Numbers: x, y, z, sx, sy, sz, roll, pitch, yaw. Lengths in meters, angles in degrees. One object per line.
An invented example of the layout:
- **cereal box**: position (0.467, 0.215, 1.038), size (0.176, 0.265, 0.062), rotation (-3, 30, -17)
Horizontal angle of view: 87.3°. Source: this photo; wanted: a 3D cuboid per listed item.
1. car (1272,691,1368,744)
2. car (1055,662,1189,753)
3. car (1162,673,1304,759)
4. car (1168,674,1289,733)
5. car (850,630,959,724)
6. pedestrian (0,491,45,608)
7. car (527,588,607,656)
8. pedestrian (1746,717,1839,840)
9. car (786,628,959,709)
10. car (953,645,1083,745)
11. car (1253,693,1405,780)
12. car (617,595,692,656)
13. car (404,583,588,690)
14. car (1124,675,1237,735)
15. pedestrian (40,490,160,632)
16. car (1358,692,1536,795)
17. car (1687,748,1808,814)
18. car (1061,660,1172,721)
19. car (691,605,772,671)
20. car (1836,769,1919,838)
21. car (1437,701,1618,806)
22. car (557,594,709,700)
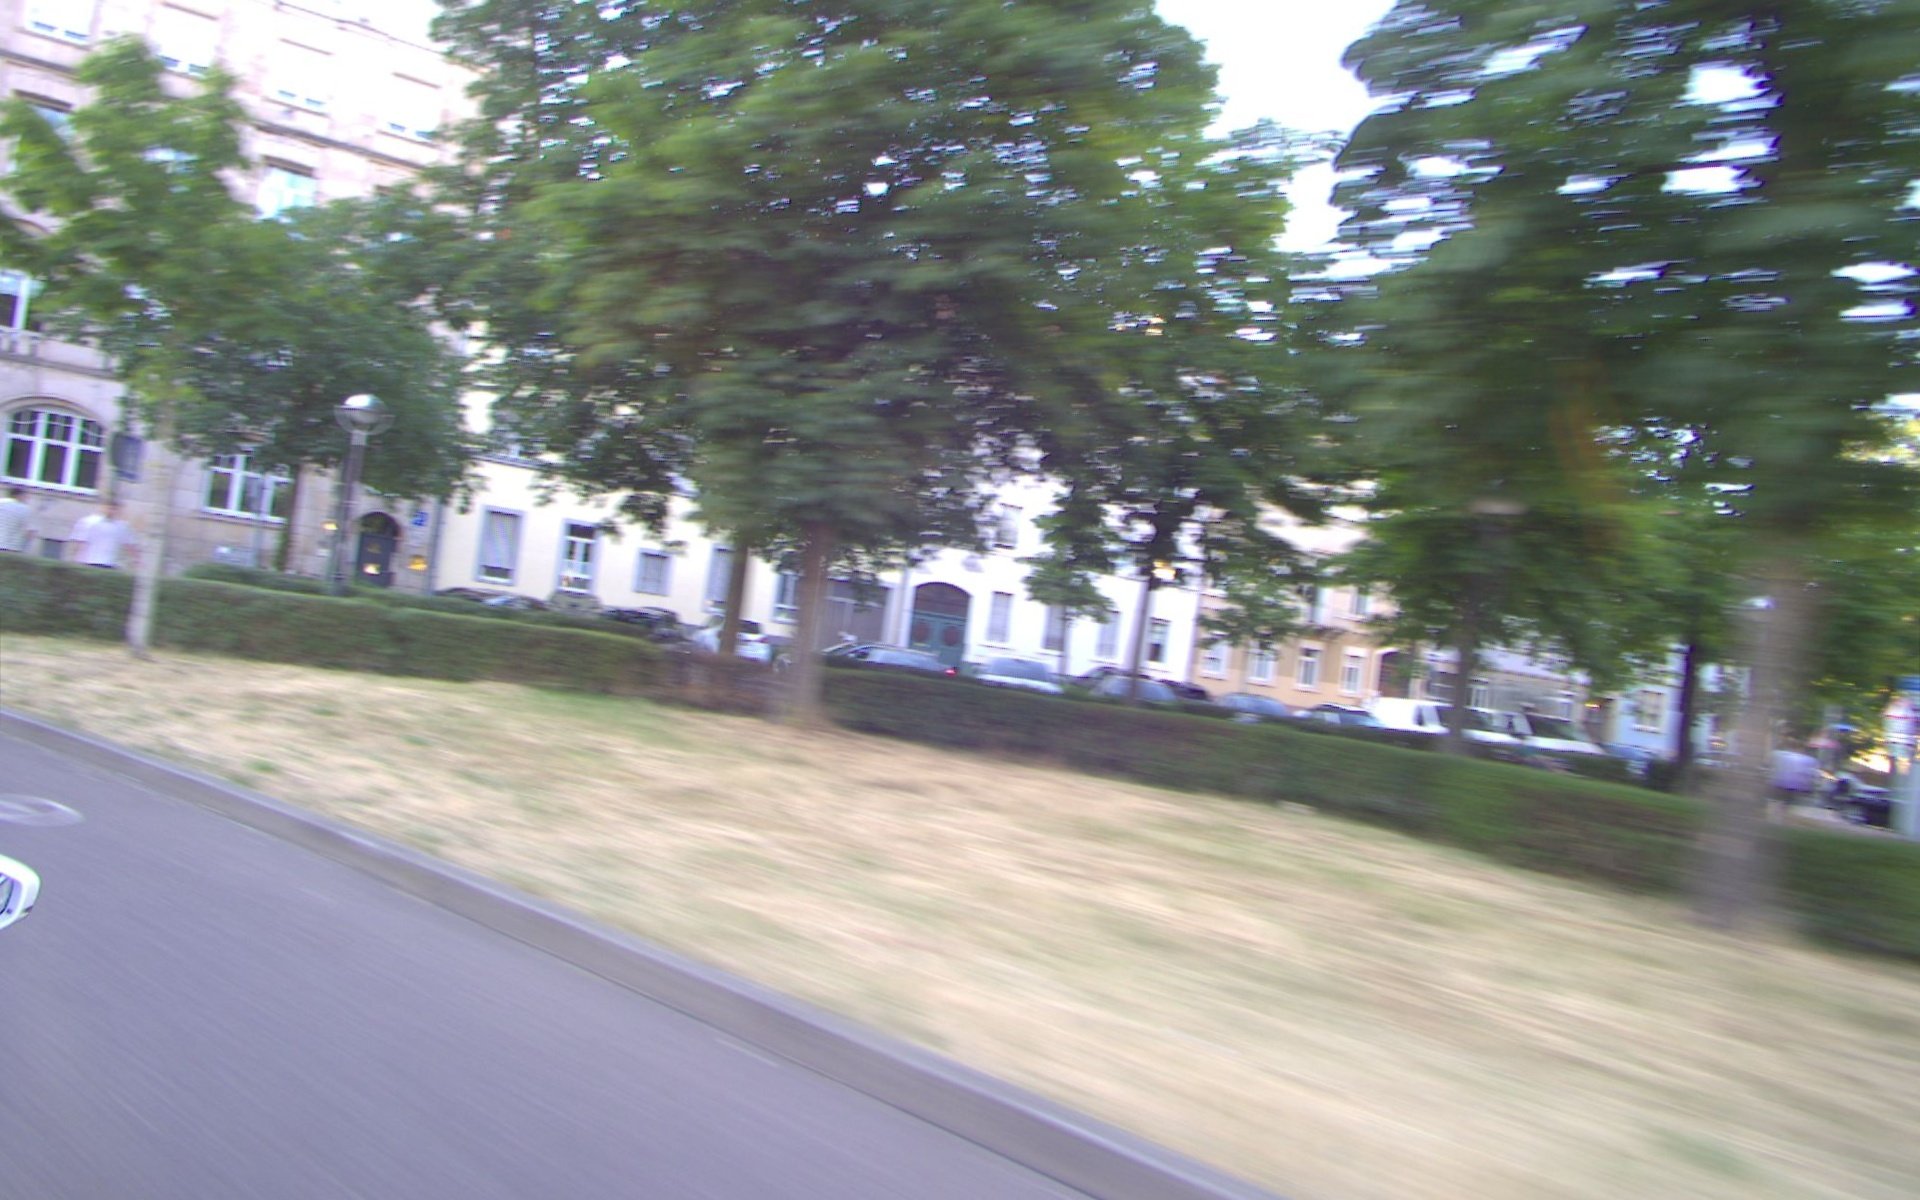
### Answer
- **car**: position (14.901, 4.826, 41.859), size (1.966, 1.569, 4.066), rotation (9, -2, -7)
- **car**: position (3.768, 2.503, 24.207), size (1.966, 1.569, 4.066), rotation (9, -2, -7)
- **car**: position (6.867, 2.900, 25.814), size (1.966, 1.569, 4.066), rotation (9, -2, -7)
- **car**: position (10.447, 4.017, 39.378), size (1.987, 1.569, 4.023), rotation (10, -3, -40)
- **car**: position (-1.331, 1.614, 22.223), size (1.966, 1.569, 4.066), rotation (9, -2, -7)
- **pedestrian**: position (-15.507, -0.842, 16.192), size (0.806, 1.812, 0.593), rotation (8, -1, 10)
- **car**: position (-11.373, 0.571, 29.236), size (1.813, 1.575, 4.380), rotation (9, -2, -20)
- **pedestrian**: position (15.405, 3.275, 18.646), size (0.992, 2.036, 0.829), rotation (8, -1, 29)
- **car**: position (-2.324, 1.826, 26.796), size (4.088, 1.499, 1.810), rotation (10, -2, -26)
- **car**: position (1.151, 1.988, 22.036), size (1.966, 1.636, 4.066), rotation (9, -2, -7)
- **car**: position (9.580, 3.523, 26.528), size (1.966, 1.569, 4.066), rotation (9, -2, -7)
- **car**: position (-9.598, 0.753, 31.380), size (1.813, 1.502, 4.051), rotation (9, -2, -20)
- **car**: position (-8.687, 0.677, 19.254), size (1.834, 1.574, 4.066), rotation (9, -2, -7)
- **car**: position (8.127, 3.857, 37.402), size (1.975, 1.569, 4.048), rotation (9, -2, -22)
- **pedestrian**: position (-11.482, -0.509, 13.445), size (0.771, 1.735, 0.769), rotation (8, -1, 24)
- **car**: position (12.647, 3.672, 26.603), size (2.082, 1.924, 5.087), rotation (9, -2, 1)
- **car**: position (38.629, 8.851, 49.451), size (1.975, 2.320, 4.048), rotation (9, -2, -22)
- **car**: position (5.580, 3.232, 36.379), size (1.975, 1.569, 4.048), rotation (9, -2, -22)
- **car**: position (-7.144, 1.127, 31.191), size (1.813, 1.587, 4.052), rotation (9, -2, -19)
- **car**: position (25.313, 5.459, 25.739), size (1.697, 1.435, 4.398), rotation (9, -2, -2)
- **car**: position (15.432, 4.103, 27.747), size (1.931, 2.045, 5.087), rotation (8, -2, 1)
- **car**: position (-6.154, 0.863, 19.450), size (1.834, 1.574, 4.066), rotation (9, -2, -7)
